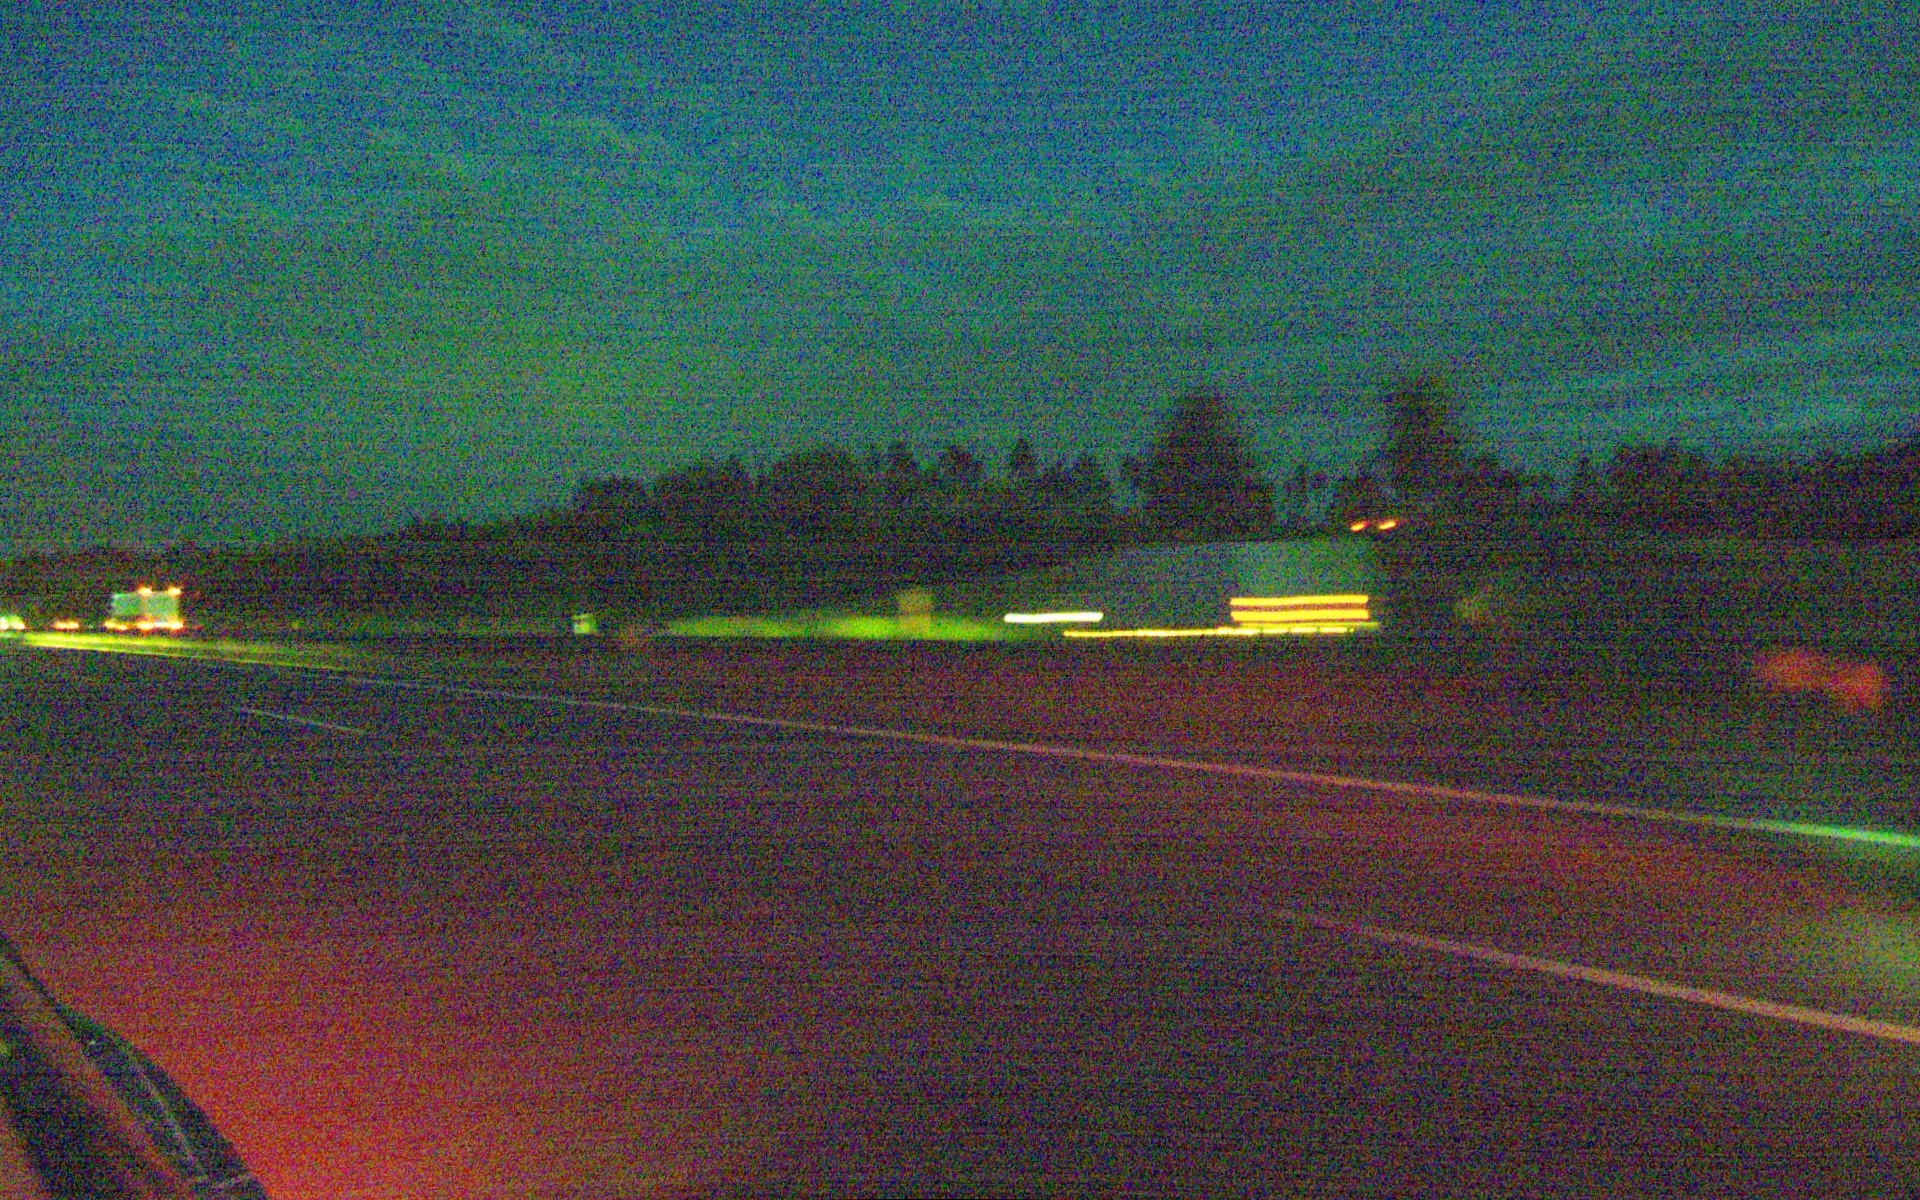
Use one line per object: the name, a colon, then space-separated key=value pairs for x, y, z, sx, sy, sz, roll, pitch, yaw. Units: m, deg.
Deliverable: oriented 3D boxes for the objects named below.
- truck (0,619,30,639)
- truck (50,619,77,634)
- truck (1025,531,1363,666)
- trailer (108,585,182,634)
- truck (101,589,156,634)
truck: x=-135.720 y=4.210 z=144.917 sx=7.881 sy=2.661 sz=2.843 roll=-2 pitch=1 yaw=41
truck: x=-112.180 y=3.311 z=126.599 sx=4.761 sy=1.770 sz=2.013 roll=-1 pitch=0 yaw=42
truck: x=5.281 y=0.019 z=24.059 sx=7.621 sy=2.746 sz=2.174 roll=-2 pitch=2 yaw=42
trailer: x=-80.723 y=1.030 z=100.069 sx=14.017 sy=4.467 sz=3.291 roll=-2 pitch=0 yaw=41
truck: x=-86.295 y=1.207 z=104.996 sx=6.704 sy=4.467 sz=3.291 roll=-2 pitch=0 yaw=41
